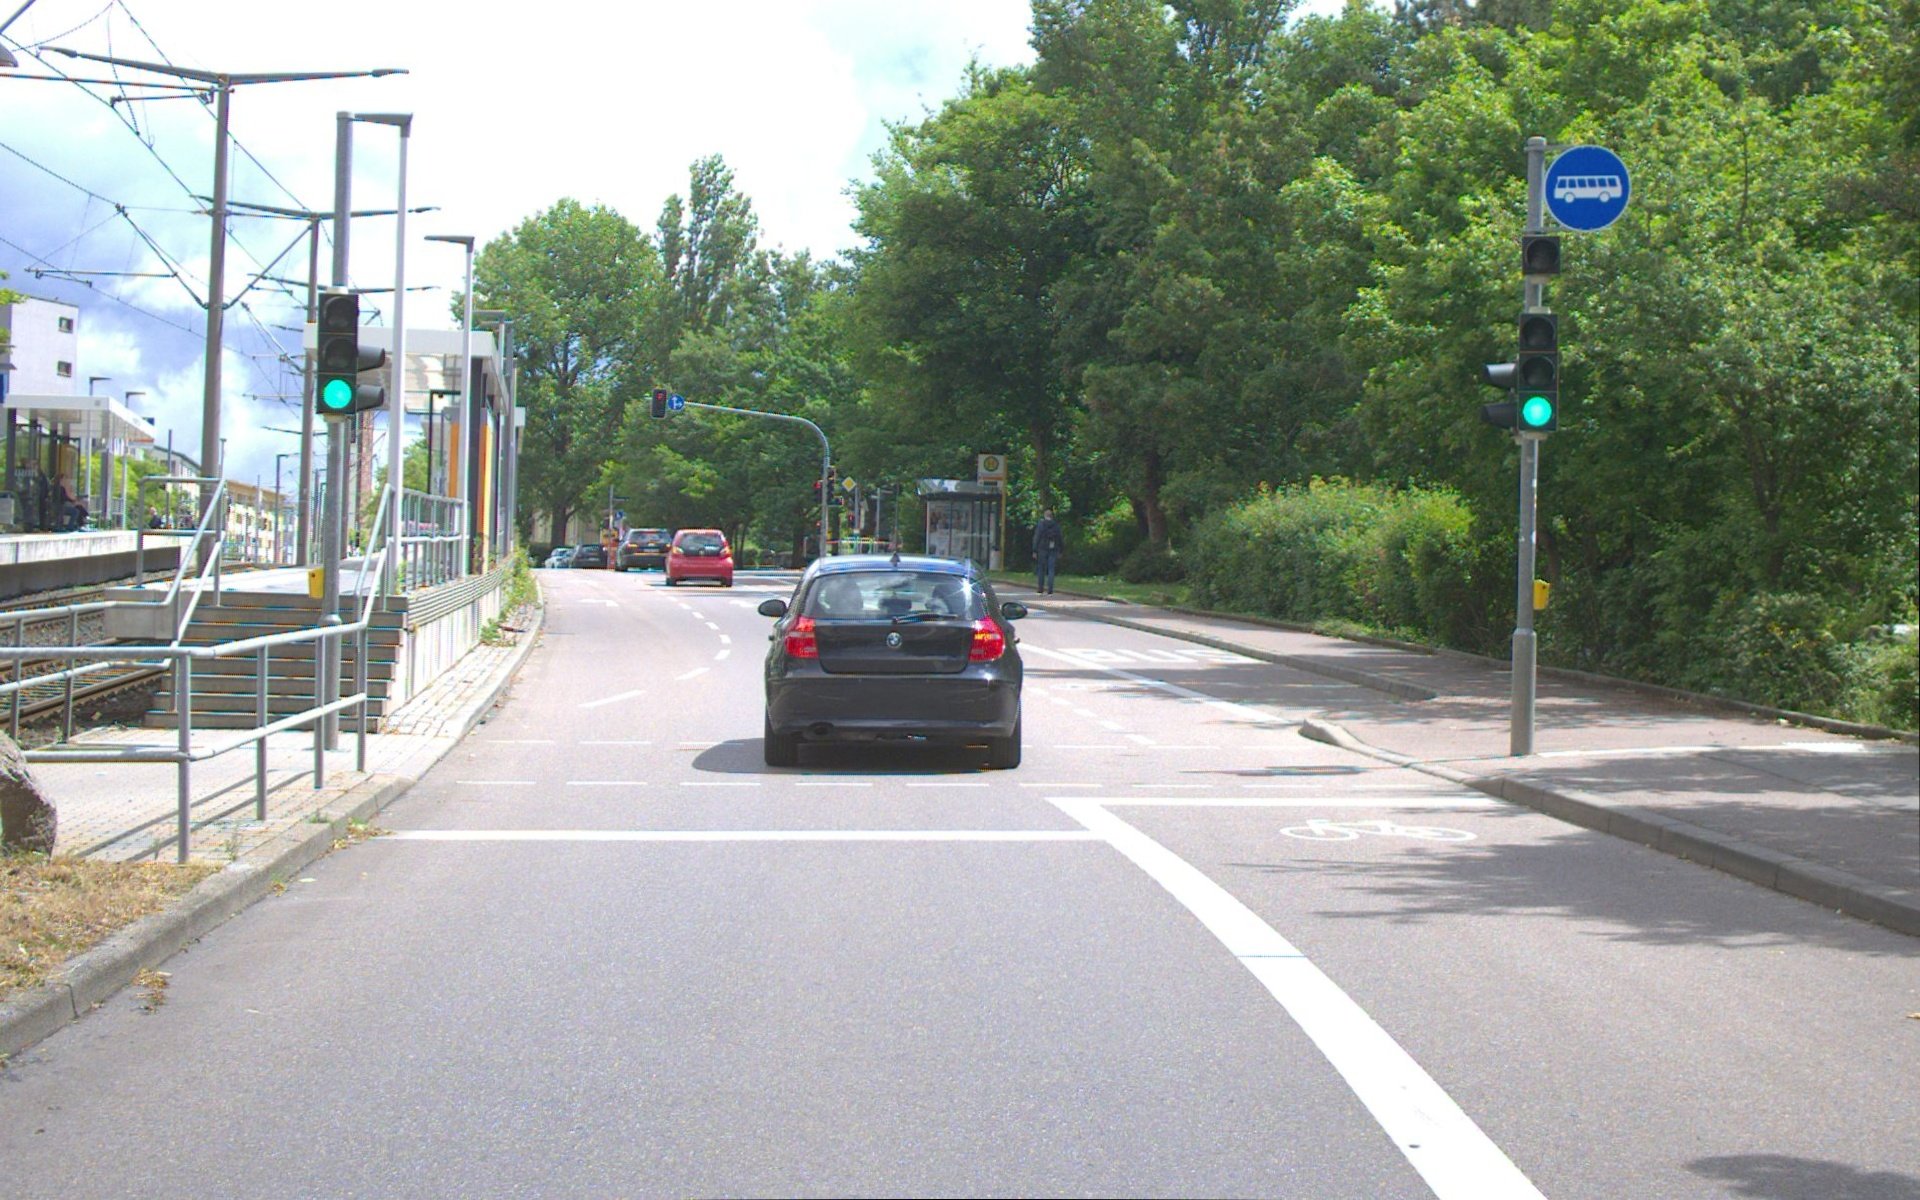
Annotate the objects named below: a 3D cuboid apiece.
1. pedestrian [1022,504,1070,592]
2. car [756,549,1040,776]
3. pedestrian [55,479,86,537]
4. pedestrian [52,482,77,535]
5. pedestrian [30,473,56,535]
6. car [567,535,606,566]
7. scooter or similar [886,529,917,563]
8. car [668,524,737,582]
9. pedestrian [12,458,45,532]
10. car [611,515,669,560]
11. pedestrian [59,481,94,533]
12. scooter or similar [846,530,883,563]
[{"bbox_3d":[1.888,-1.146,75.850,0.801,1.889,1.271,2,1,-7],"label":"pedestrian"},{"bbox_3d":[-0.495,0.378,23.774,1.654,1.414,3.518,1,1,-6],"label":"car"},{"bbox_3d":[-21.082,-2.190,81.521,0.643,1.364,0.507,1,1,-7],"label":"pedestrian"},{"bbox_3d":[-20.904,-2.133,80.251,0.519,1.232,0.543,0,1,-19],"label":"pedestrian"},{"bbox_3d":[-20.723,-2.161,77.670,0.541,1.375,0.521,0,-2,-16],"label":"pedestrian"},{"bbox_3d":[-17.959,-2.386,165.486,1.654,1.414,3.517,1,1,-3],"label":"car"},{"bbox_3d":[-2.168,-1.996,127.101,1.106,1.253,0.332,0,1,-19],"label":"scooter or similar"},{"bbox_3d":[-6.618,-1.218,88.250,1.594,1.414,3.518,1,1,-7],"label":"car"},{"bbox_3d":[-20.843,-2.348,76.898,0.520,1.639,0.564,0,1,-40],"label":"pedestrian"},{"bbox_3d":[-10.488,-2.049,112.478,1.654,1.414,3.518,1,1,-9],"label":"car"},{"bbox_3d":[-21.185,-2.235,82.476,0.742,1.232,0.518,1,1,-7],"label":"pedestrian"},{"bbox_3d":[-3.490,-1.967,126.040,1.287,1.185,0.385,0,1,-23],"label":"scooter or similar"}]
